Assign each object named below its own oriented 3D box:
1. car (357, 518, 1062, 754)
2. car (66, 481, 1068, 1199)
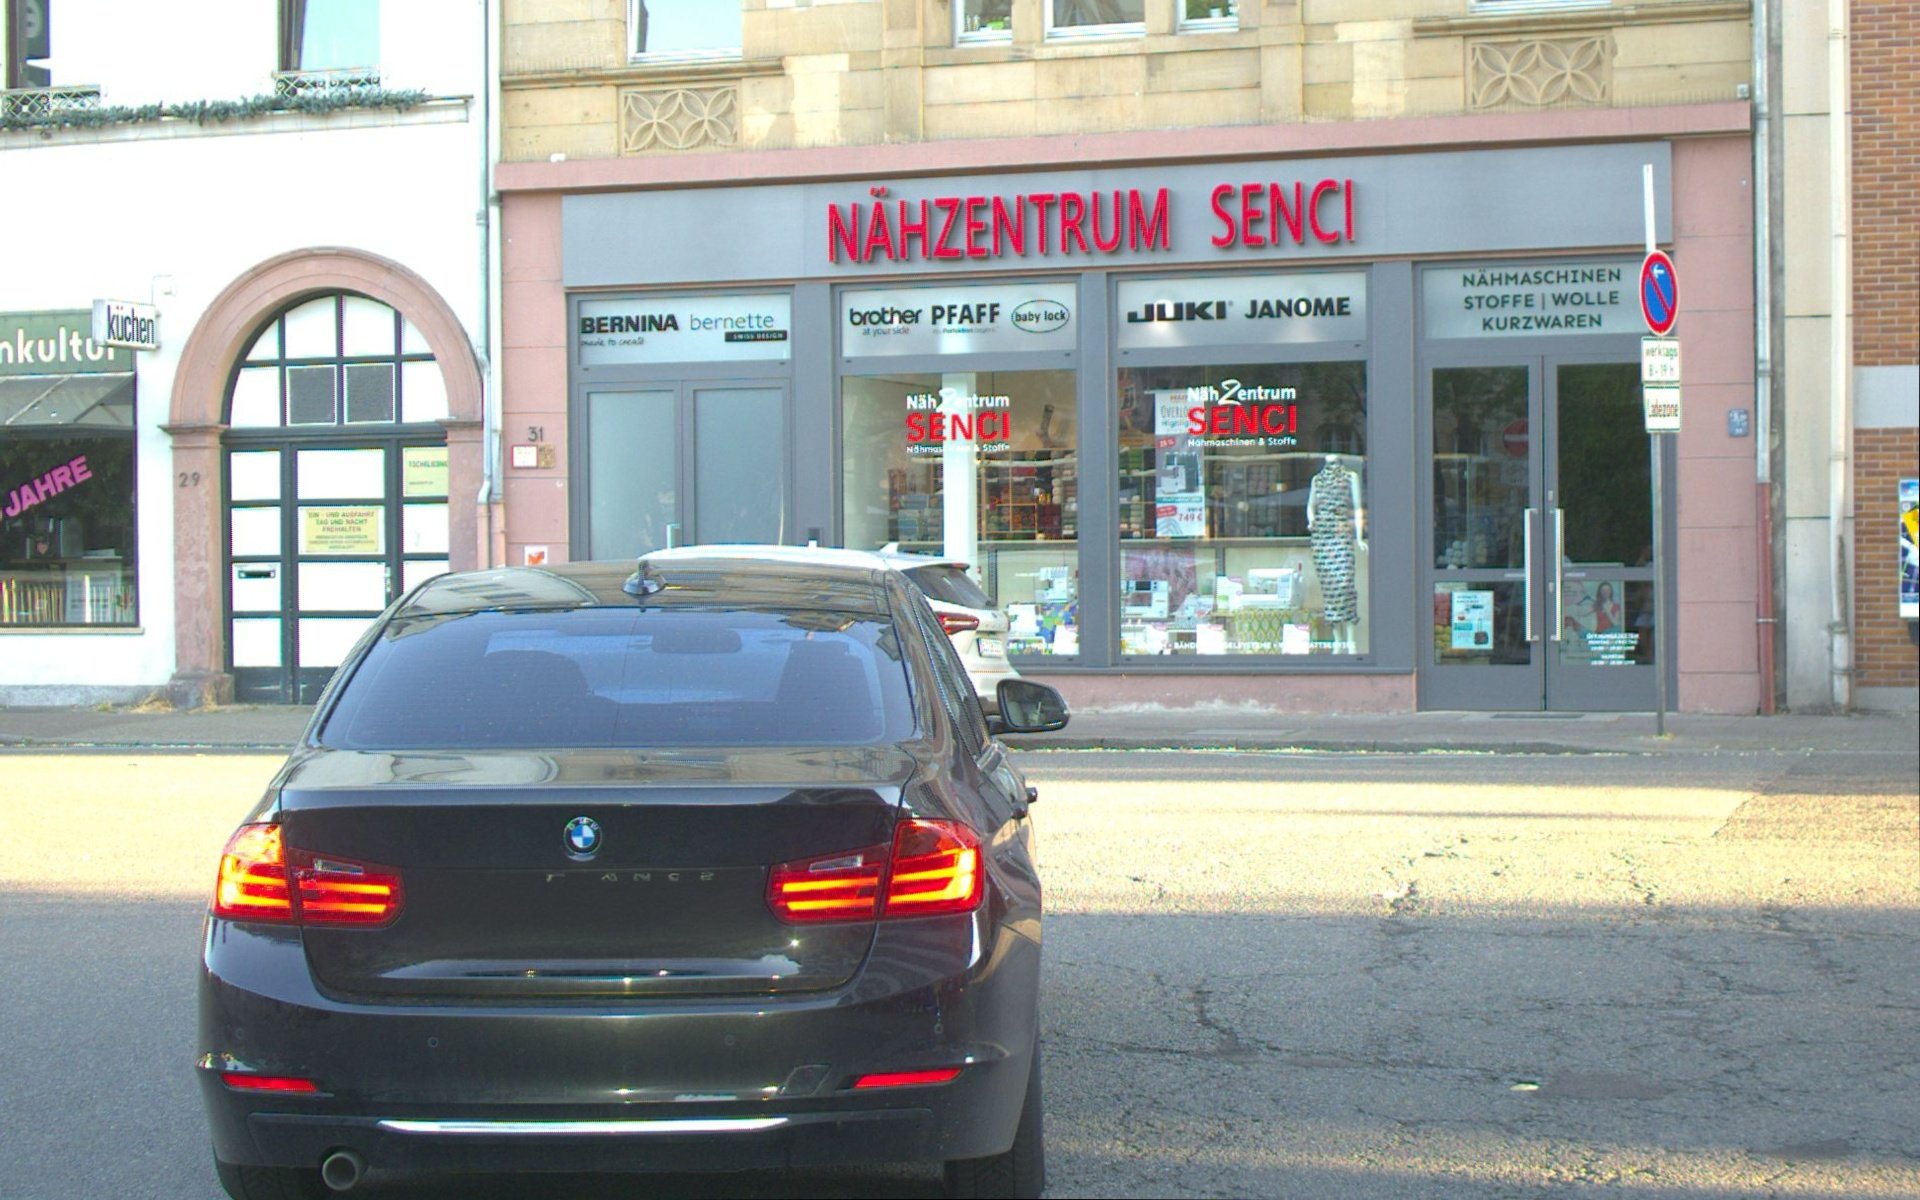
[{"bbox_3d":[-1.791,0.216,24.908,4.670,1.530,1.998,1,1,18],"label":"car"},{"bbox_3d":[-0.696,0.518,8.581,1.888,1.487,4.204,0,0,1],"label":"car"}]
